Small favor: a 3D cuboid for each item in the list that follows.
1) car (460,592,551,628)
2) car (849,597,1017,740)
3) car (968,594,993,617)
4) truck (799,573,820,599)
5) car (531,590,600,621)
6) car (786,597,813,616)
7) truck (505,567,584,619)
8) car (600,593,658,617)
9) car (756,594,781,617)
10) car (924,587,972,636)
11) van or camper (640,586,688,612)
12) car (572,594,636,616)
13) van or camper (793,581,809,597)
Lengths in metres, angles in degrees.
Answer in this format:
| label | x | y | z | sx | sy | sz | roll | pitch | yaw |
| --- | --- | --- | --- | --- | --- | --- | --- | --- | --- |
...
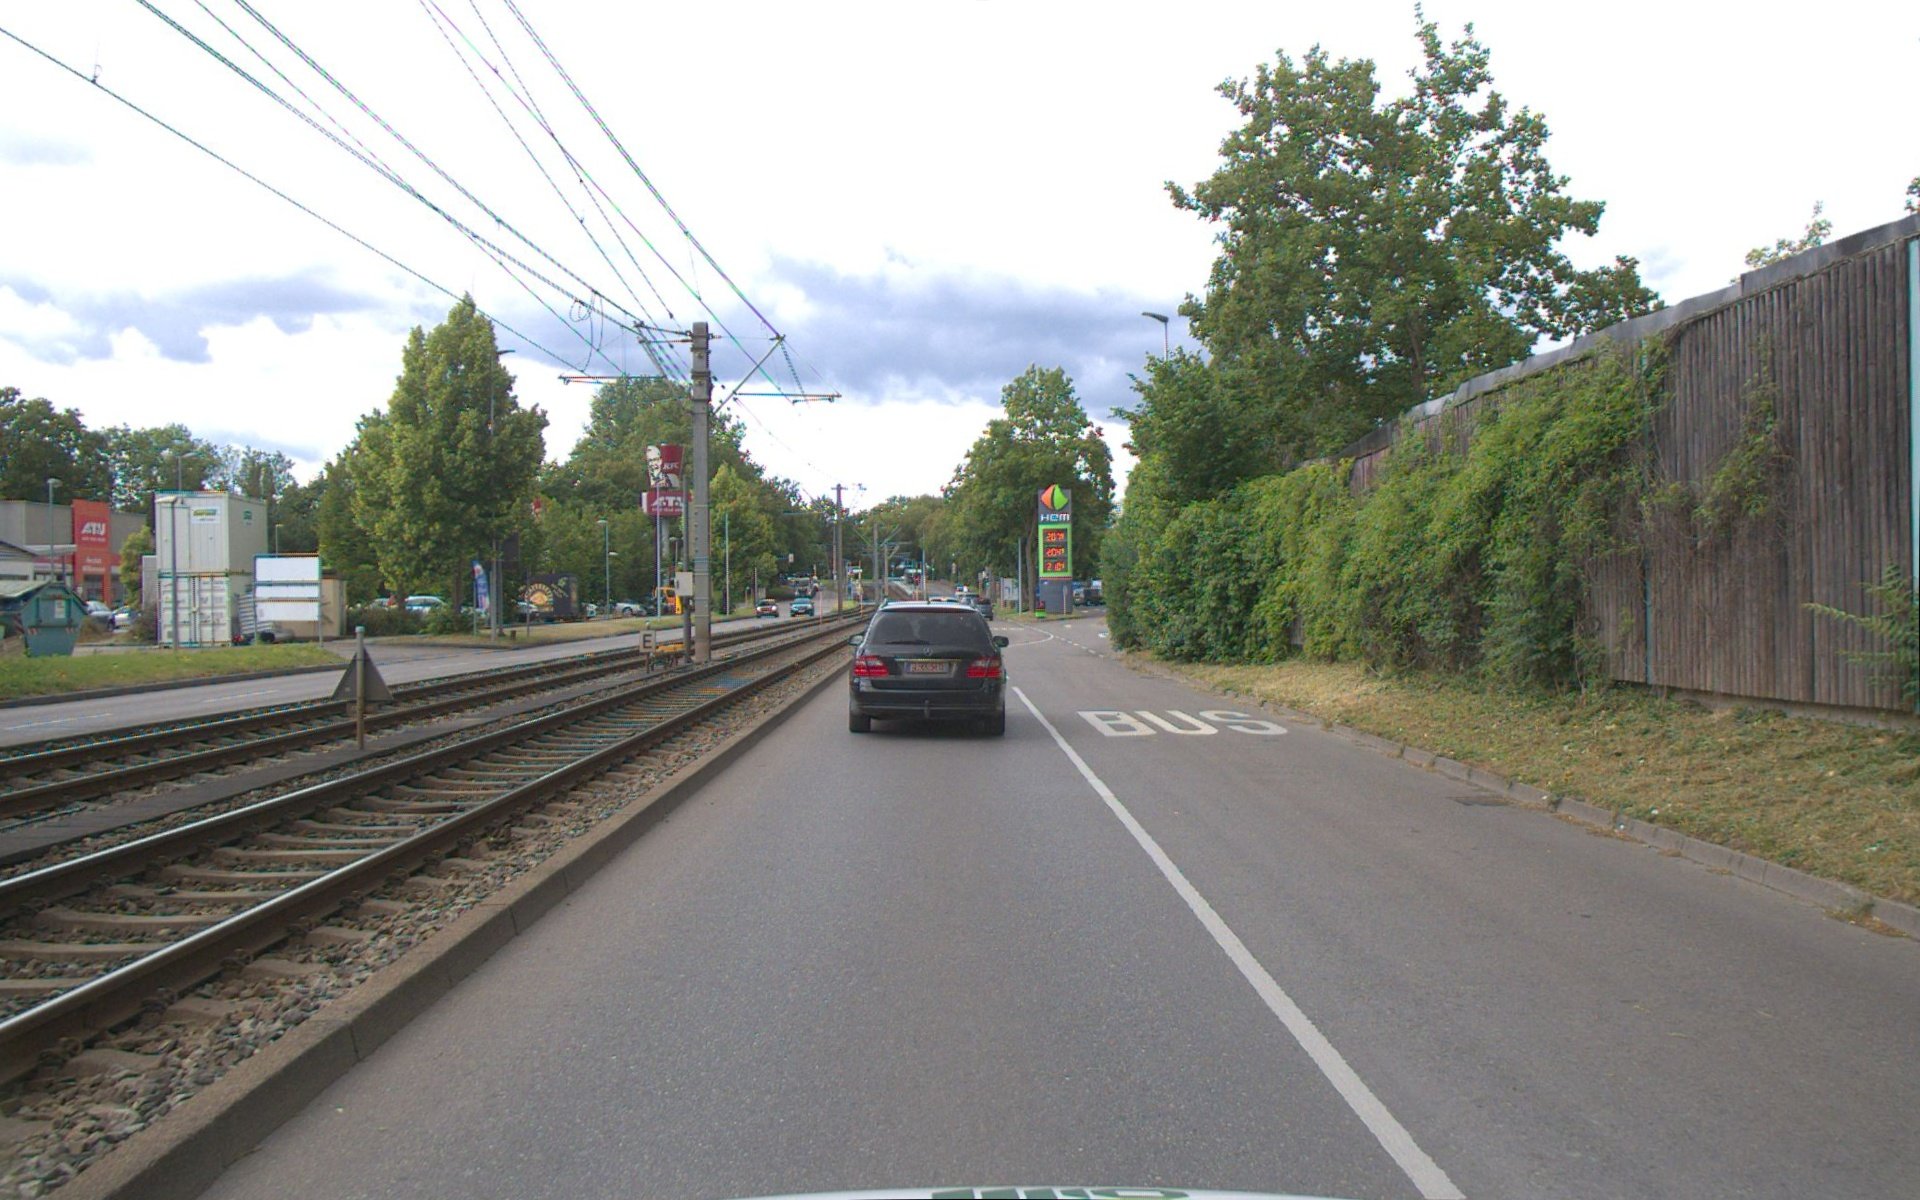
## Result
| label | x | y | z | sx | sy | sz | roll | pitch | yaw |
| --- | --- | --- | --- | --- | --- | --- | --- | --- | --- |
| car | -23.413 | 0.520 | 85.222 | 4.136 | 1.757 | 1.995 | -1 | 0 | -3 |
| car | -0.304 | 0.723 | 19.495 | 1.771 | 1.500 | 3.880 | 1 | 0 | -1 |
| car | 1.359 | 0.386 | 109.867 | 1.539 | 1.439 | 3.353 | 1 | 0 | -1 |
| truck | -22.554 | -2.119 | 248.259 | 2.653 | 3.727 | 11.104 | -1 | 0 | -4 |
| car | -24.611 | 0.345 | 103.304 | 3.909 | 1.829 | 1.876 | -1 | 0 | -5 |
| car | -12.980 | 0.544 | 133.954 | 1.723 | 1.425 | 4.442 | -3 | 0 | -2 |
| truck | -23.622 | -0.394 | 94.121 | 3.908 | 2.871 | 2.375 | -1 | 0 | -4 |
| car | -24.234 | 0.340 | 121.180 | 3.909 | 1.663 | 1.876 | -1 | 0 | -5 |
| car | -15.773 | 0.458 | 136.489 | 1.756 | 1.803 | 3.998 | -1 | 0 | -3 |
| car | -0.461 | 0.428 | 62.881 | 1.744 | 1.781 | 3.717 | 1 | 0 | -1 |
| van or camper | -25.584 | -0.072 | 143.190 | 3.909 | 2.172 | 1.876 | -1 | 0 | -5 |
| car | -25.126 | 0.335 | 116.875 | 4.221 | 1.497 | 1.679 | -1 | 0 | -3 |
| van or camper | -23.700 | -1.630 | 246.892 | 1.954 | 2.395 | 5.763 | -1 | 0 | -3 |
